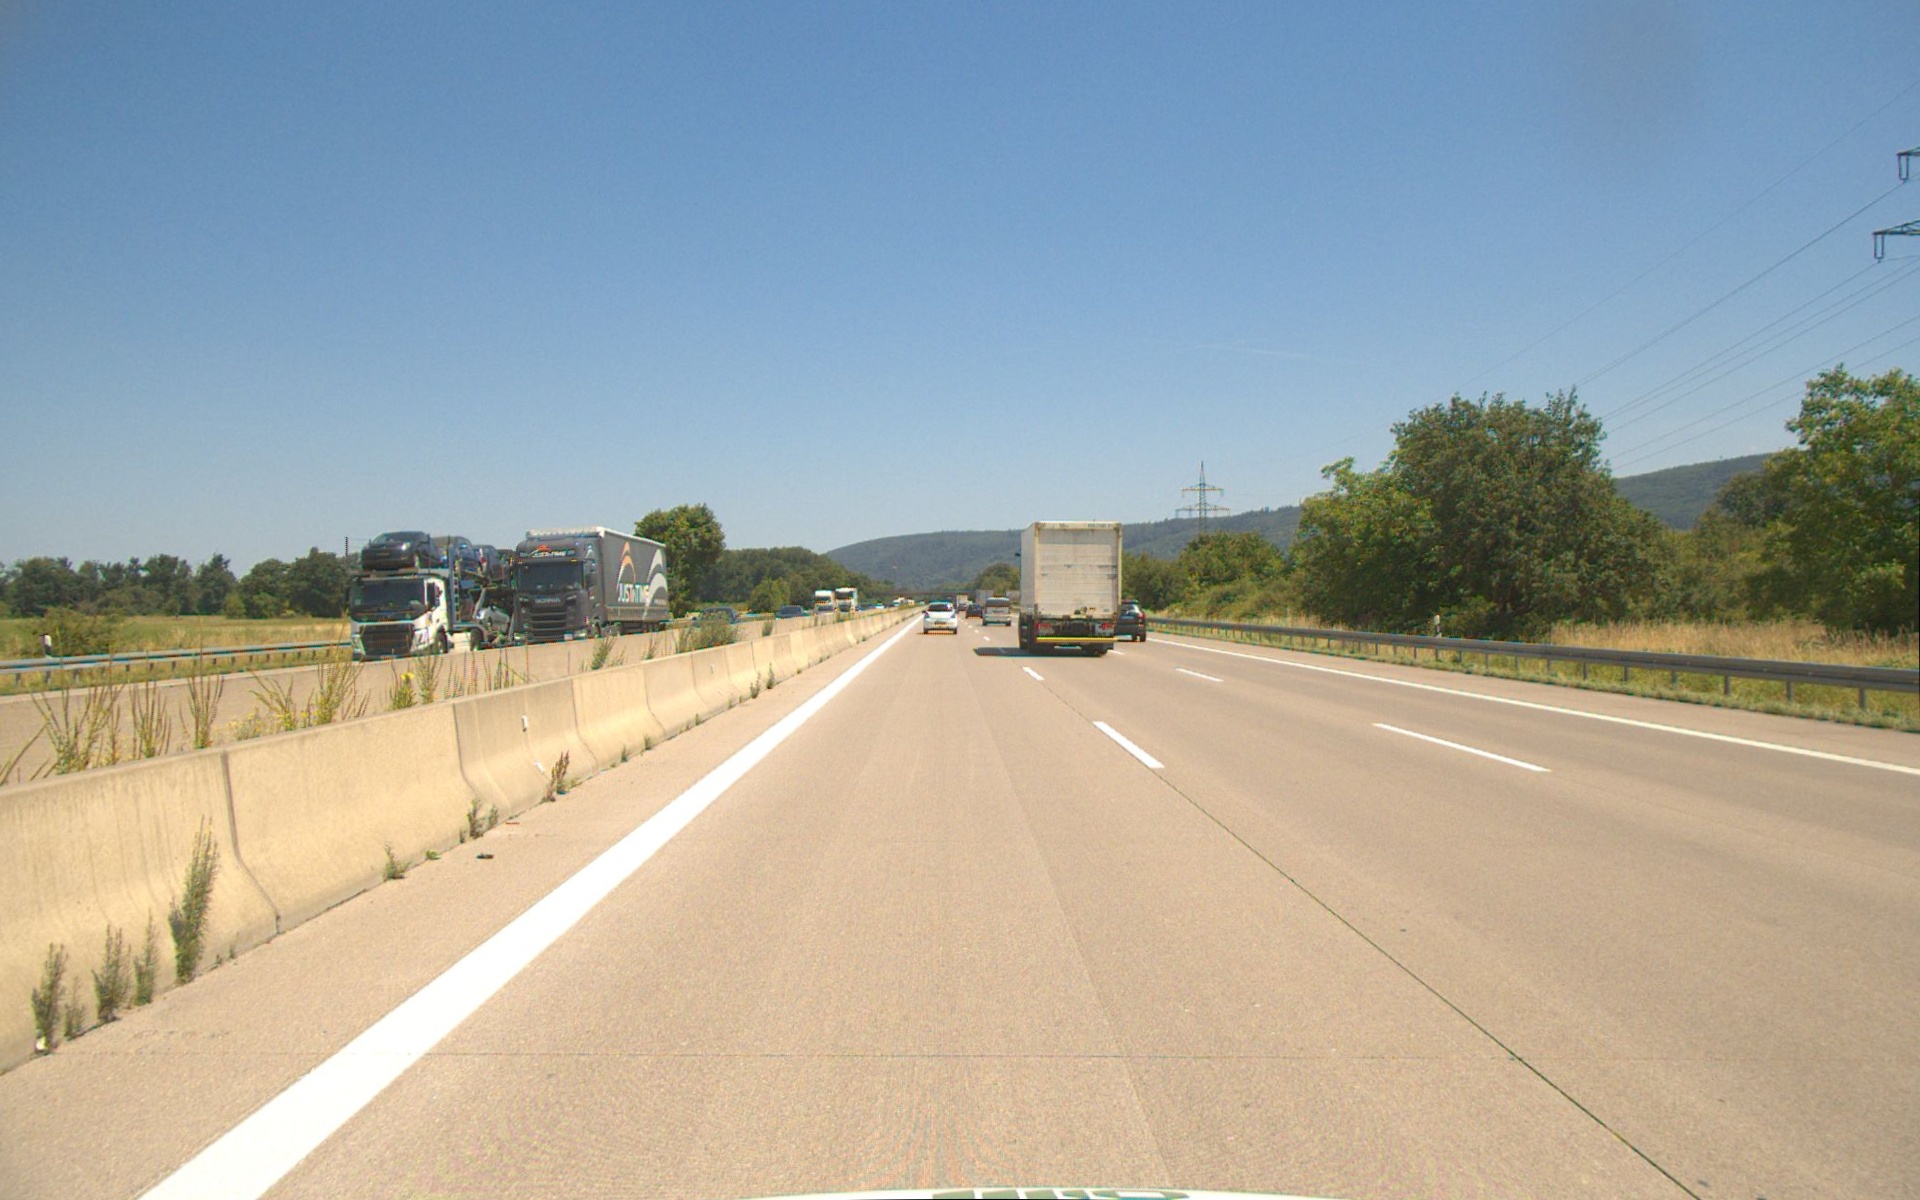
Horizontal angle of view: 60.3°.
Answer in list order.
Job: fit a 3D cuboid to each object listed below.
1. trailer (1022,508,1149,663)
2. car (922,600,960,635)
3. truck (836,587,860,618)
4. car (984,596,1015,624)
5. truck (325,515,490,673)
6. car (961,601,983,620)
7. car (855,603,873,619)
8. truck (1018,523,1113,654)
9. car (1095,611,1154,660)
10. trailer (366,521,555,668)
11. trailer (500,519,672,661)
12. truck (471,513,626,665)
[{"bbox_3d":[3.419,-0.356,47.553,2.529,3.945,10.369,1,0,-2],"label":"trailer"},{"bbox_3d":[-0.973,0.844,81.670,1.783,1.691,3.999,0,0,-2],"label":"car"},{"bbox_3d":[-14.803,0.360,219.151,2.842,4.039,5.044,1,0,-1],"label":"truck"},{"bbox_3d":[2.693,0.668,113.364,1.953,1.881,3.999,1,0,-1],"label":"car"},{"bbox_3d":[-17.512,-0.171,52.885,3.166,4.687,6.249,1,0,-1],"label":"truck"},{"bbox_3d":[1.225,1.063,168.741,1.954,1.881,3.998,3,0,-2],"label":"car"},{"bbox_3d":[-11.264,1.291,194.118,1.825,1.759,4.141,1,0,1],"label":"car"},{"bbox_3d":[3.303,-0.344,52.713,2.529,3.945,4.982,1,0,-2],"label":"truck"},{"bbox_3d":[6.869,1.450,69.448,1.953,1.881,3.999,3,0,-1],"label":"car"},{"bbox_3d":[-17.645,-0.155,59.566,3.166,4.687,12.291,1,0,-1],"label":"trailer"},{"bbox_3d":[-13.443,-0.309,61.077,3.201,4.554,14.448,-1,0,-1],"label":"trailer"},{"bbox_3d":[-13.238,-0.325,53.867,3.201,4.554,7.188,-1,0,-1],"label":"truck"}]
